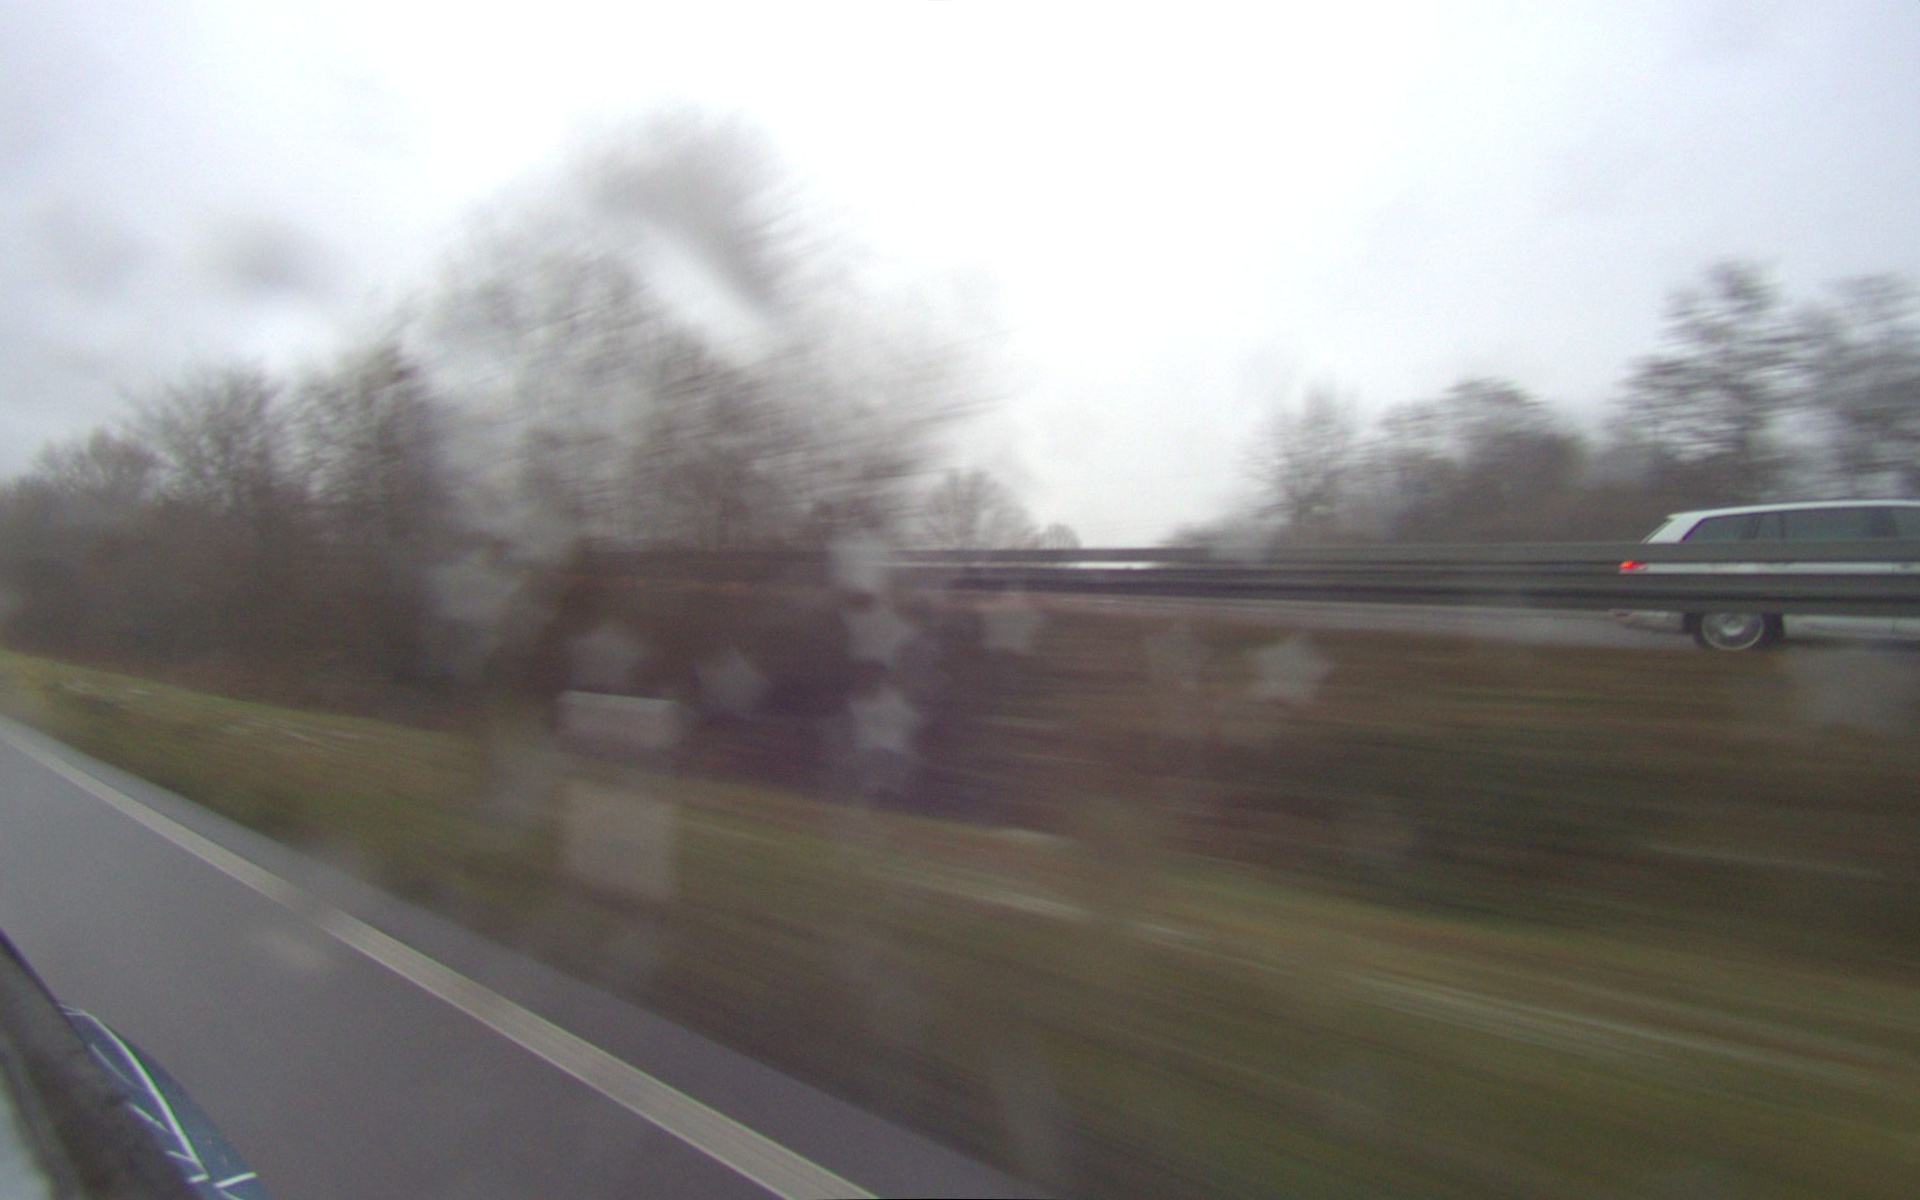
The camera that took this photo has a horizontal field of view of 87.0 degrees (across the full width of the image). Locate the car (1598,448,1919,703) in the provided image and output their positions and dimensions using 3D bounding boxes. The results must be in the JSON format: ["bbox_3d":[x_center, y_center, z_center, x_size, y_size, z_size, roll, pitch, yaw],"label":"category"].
[{"bbox_3d":[8.451,-0.269,8.603,1.972,2.027,4.756,-8,9,-44],"label":"car"}]
